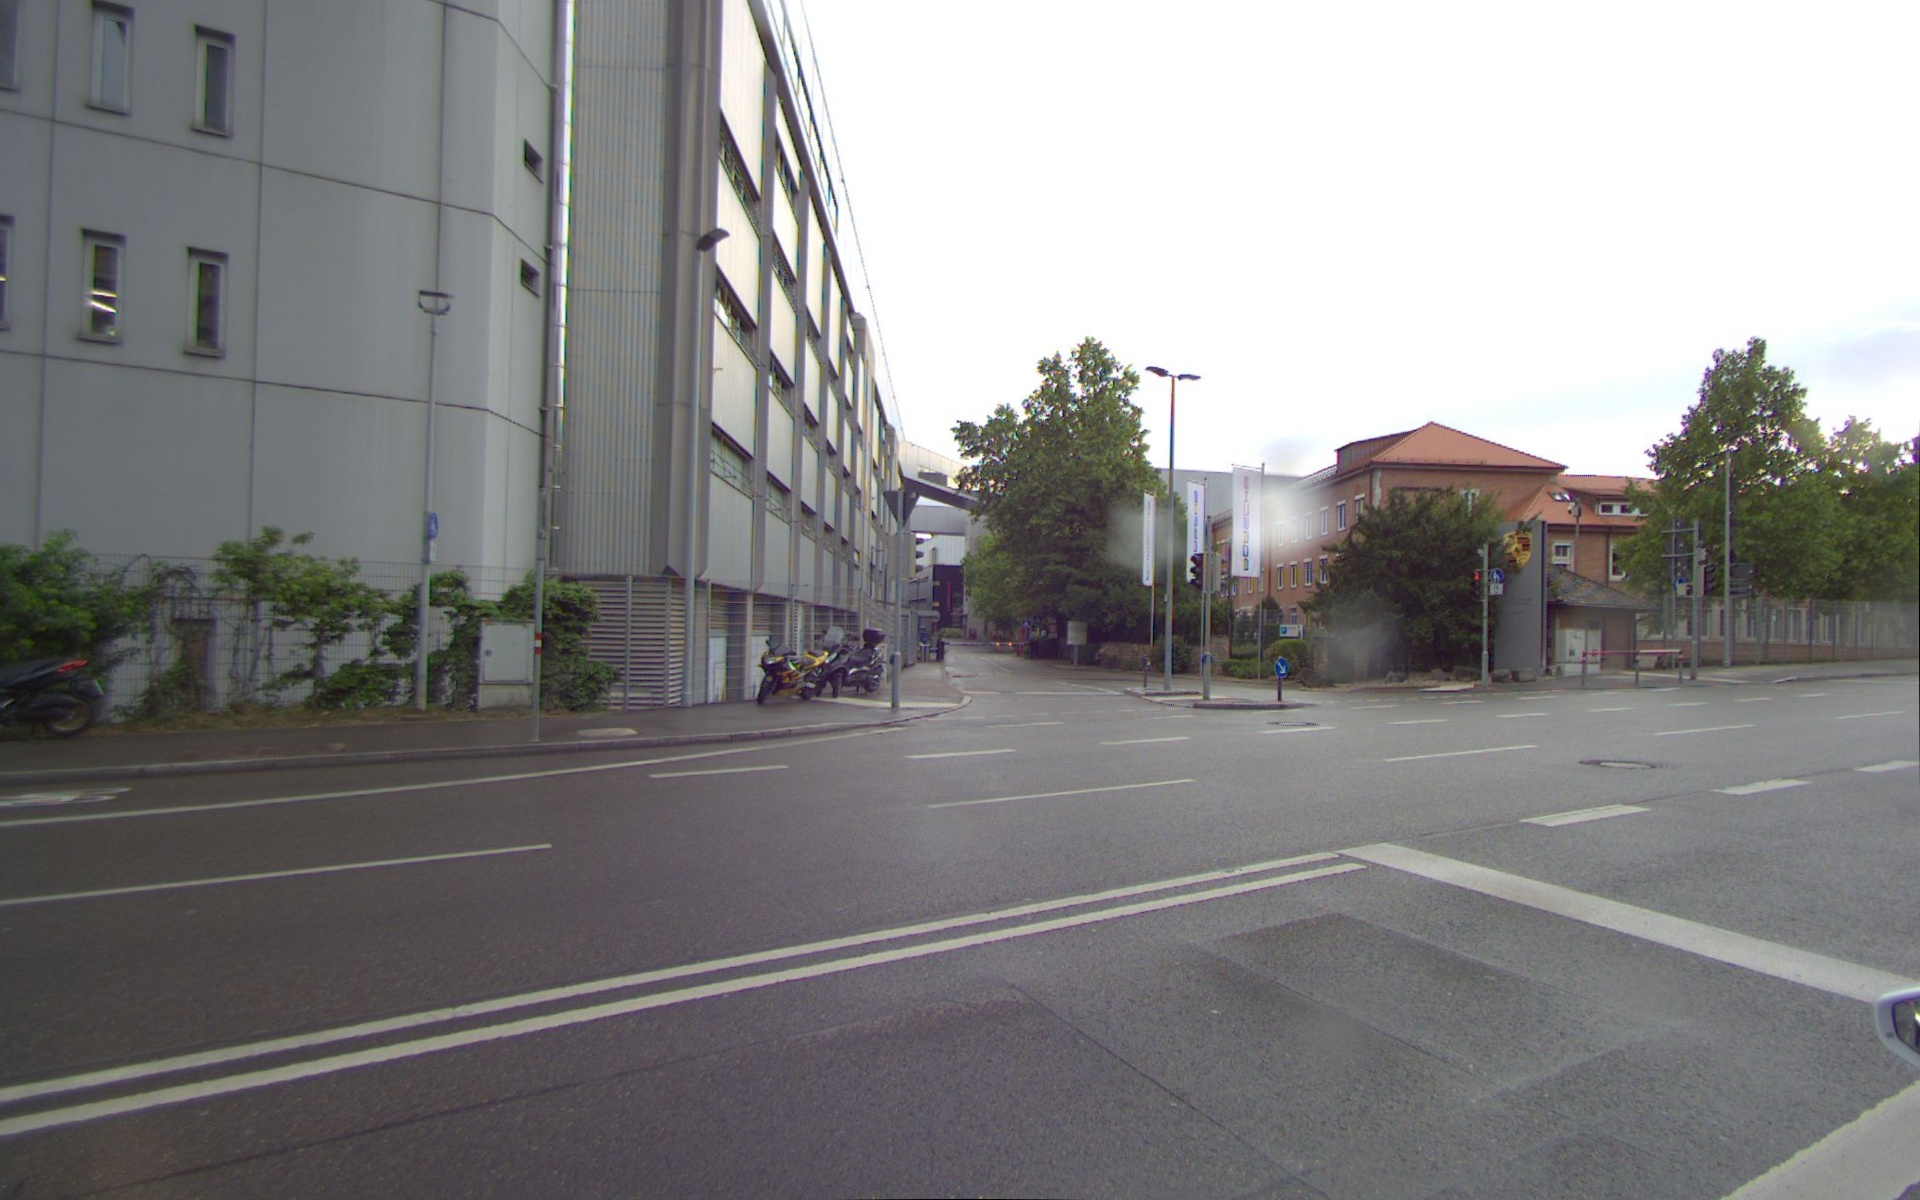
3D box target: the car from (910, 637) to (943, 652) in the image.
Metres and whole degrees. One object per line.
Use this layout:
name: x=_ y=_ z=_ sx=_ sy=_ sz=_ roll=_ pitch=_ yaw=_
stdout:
car: x=-4.379 y=5.800 z=131.380 sx=3.914 sy=1.849 sz=1.955 roll=2 pitch=0 yaw=-31

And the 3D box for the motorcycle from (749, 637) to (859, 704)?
motorcycle: x=-3.071 y=1.374 z=20.090 sx=0.759 sy=1.234 sz=2.504 roll=0 pitch=-2 yaw=30

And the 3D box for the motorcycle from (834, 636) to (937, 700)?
motorcycle: x=-1.619 y=1.478 z=22.526 sx=1.008 sy=1.355 sz=2.772 roll=-1 pitch=-2 yaw=27

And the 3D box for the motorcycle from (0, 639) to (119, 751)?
motorcycle: x=-11.329 y=1.097 z=11.768 sx=2.133 sy=1.263 sz=0.780 roll=2 pitch=-2 yaw=-32
